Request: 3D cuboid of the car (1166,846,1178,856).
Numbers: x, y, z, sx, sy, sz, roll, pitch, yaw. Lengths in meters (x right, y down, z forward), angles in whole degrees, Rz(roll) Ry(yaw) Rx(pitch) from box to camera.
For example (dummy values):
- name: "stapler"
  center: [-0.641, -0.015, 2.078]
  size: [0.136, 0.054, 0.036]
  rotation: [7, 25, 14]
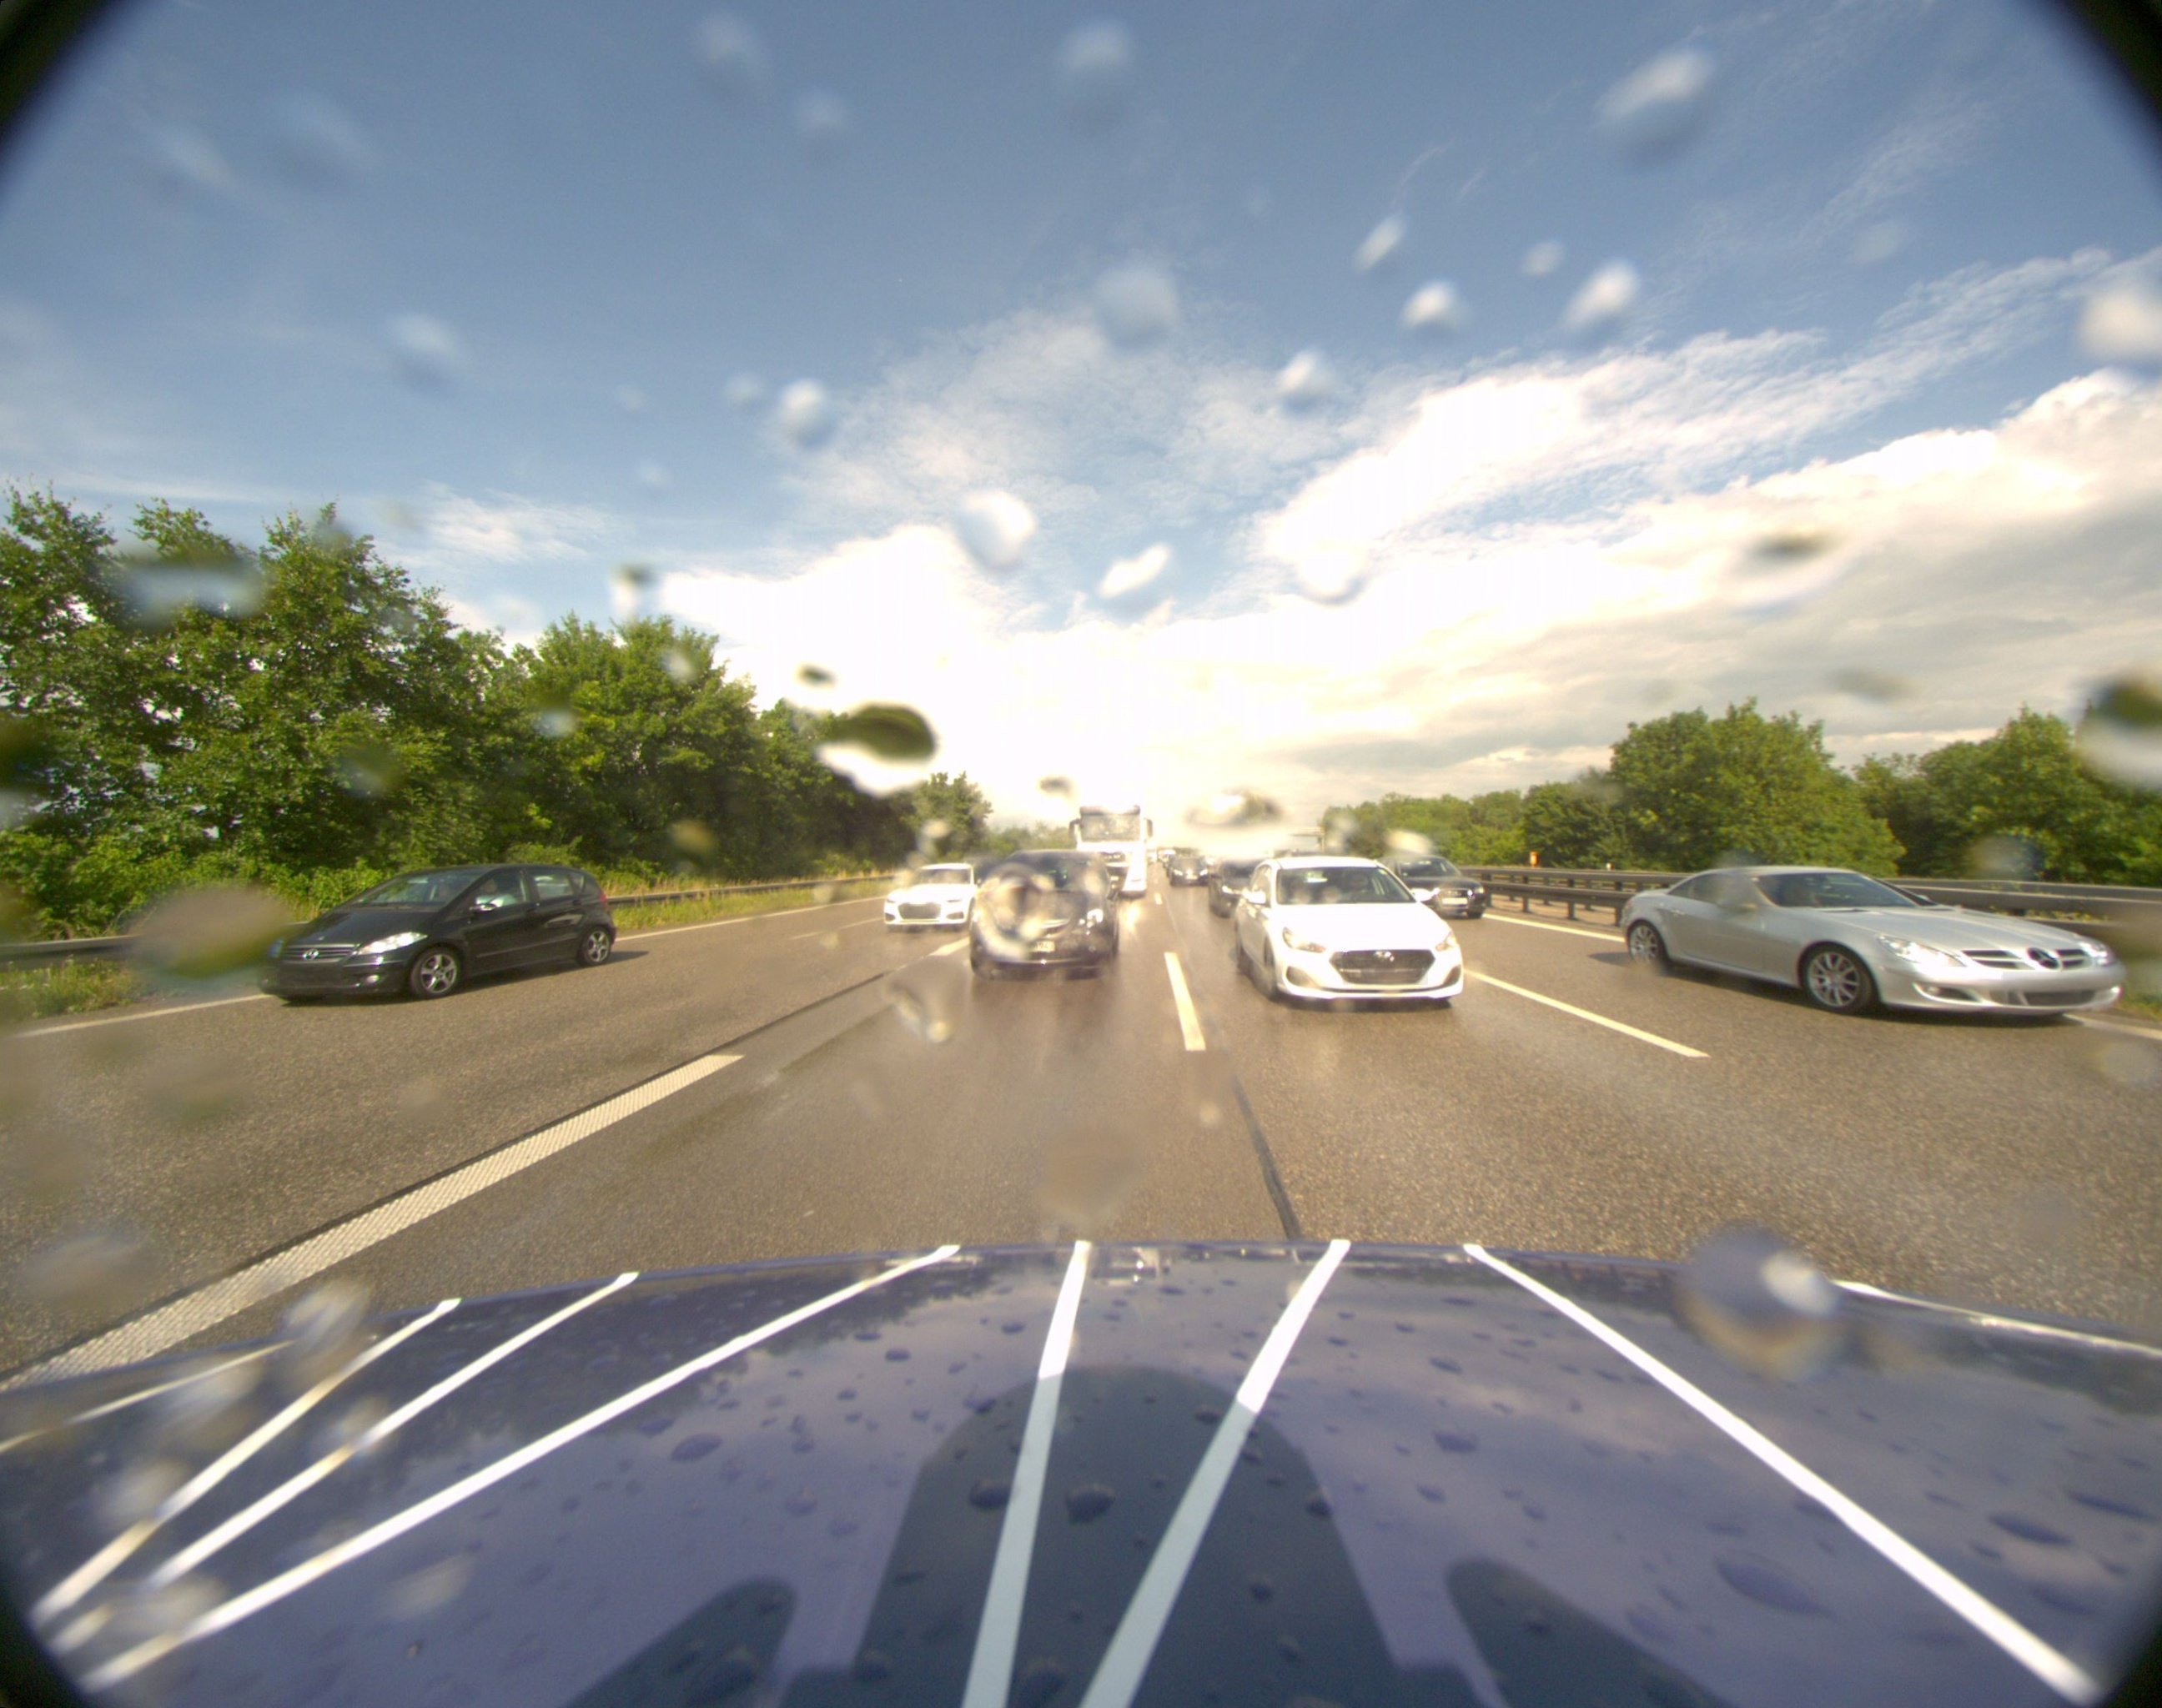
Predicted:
- name: "car"
  center: [17.229, -0.580, 144.567]
  size: [1.998, 1.687, 4.000]
  rotation: [-2, 1, 4]

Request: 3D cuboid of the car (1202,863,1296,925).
- name: "car"
  center: [4.140, 0.926, 19.287]
  size: [1.728, 1.330, 4.288]
  rotation: [-1, 0, 4]

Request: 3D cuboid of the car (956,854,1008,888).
- name: "car"
  center: [-5.156, 0.851, 40.294]
  size: [1.824, 1.611, 4.365]
  rotation: [-2, 0, 4]

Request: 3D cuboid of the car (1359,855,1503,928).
- name: "car"
  center: [8.007, 0.784, 17.811]
  size: [1.770, 1.417, 4.140]
  rotation: [-2, 0, 6]

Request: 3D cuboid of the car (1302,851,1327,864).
- name: "car"
  center: [25.749, 0.370, 83.790]
  size: [1.760, 1.371, 3.877]
  rotation: [-1, 0, 4]

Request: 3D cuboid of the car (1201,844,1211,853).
- name: "car"
  center: [28.098, -1.225, 170.943]
  size: [1.998, 1.768, 4.462]
  rotation: [-1, 0, 5]

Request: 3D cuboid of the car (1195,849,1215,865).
- name: "car"
  center: [14.540, 0.310, 89.292]
  size: [1.998, 1.687, 4.000]
  rotation: [-2, 1, 4]

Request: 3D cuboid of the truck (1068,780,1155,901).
- name: "truck"
  center: [1.403, -0.492, 29.739]
  size: [2.816, 4.082, 7.448]
  rotation: [-2, 1, 6]

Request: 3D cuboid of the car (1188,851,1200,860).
- name: "car"
  center: [23.909, 0.351, 160.955]
  size: [1.998, 1.687, 4.000]
  rotation: [-2, 1, 4]

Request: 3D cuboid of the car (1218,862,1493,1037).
- name: "car"
  center: [2.803, 0.870, 8.927]
  size: [1.885, 1.446, 4.549]
  rotation: [-1, 0, 4]

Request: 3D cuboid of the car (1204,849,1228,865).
- name: "car"
  center: [13.618, 0.265, 76.903]
  size: [1.998, 1.471, 4.000]
  rotation: [-2, 1, 4]

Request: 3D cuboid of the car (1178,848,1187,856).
- name: "car"
  center: [24.604, -0.466, 183.898]
  size: [1.998, 1.687, 4.000]
  rotation: [-2, 1, 4]

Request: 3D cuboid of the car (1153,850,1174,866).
- name: "car"
  center: [8.718, 0.396, 80.512]
  size: [1.998, 1.471, 4.000]
  rotation: [-2, 1, 4]

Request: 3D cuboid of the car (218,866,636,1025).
- name: "car"
  center: [-8.079, 0.998, 10.005]
  size: [1.852, 1.559, 4.001]
  rotation: [0, 1, 4]

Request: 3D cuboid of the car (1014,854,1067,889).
- name: "car"
  center: [-1.929, 0.824, 37.378]
  size: [1.998, 1.572, 4.654]
  rotation: [-1, 0, 4]

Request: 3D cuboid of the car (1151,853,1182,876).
- name: "car"
  center: [6.106, 0.737, 54.604]
  size: [1.998, 1.471, 4.000]
  rotation: [-2, 1, 4]

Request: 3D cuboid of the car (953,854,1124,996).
- name: "car"
  center: [-0.380, 0.835, 11.068]
  size: [1.883, 1.638, 4.397]
  rotation: [-1, 0, 4]

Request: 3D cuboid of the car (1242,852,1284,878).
- name: "car"
  center: [10.727, 0.602, 44.932]
  size: [1.771, 1.371, 4.000]
  rotation: [-1, 1, 4]

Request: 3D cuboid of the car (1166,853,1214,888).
- name: "car"
  center: [5.296, 0.753, 37.346]
  size: [1.998, 1.477, 4.000]
  rotation: [-2, 1, 4]

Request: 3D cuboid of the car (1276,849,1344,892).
- name: "car"
  center: [9.368, 0.630, 31.429]
  size: [1.874, 1.597, 4.230]
  rotation: [-1, 0, 5]

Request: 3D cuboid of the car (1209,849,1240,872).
- name: "car"
  center: [11.923, 0.502, 63.323]
  size: [1.998, 1.738, 4.000]
  rotation: [-2, 1, 4]

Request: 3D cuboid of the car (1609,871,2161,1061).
- name: "car"
  center: [7.428, 0.873, 7.585]
  size: [1.728, 1.270, 4.064]
  rotation: [-1, 0, 4]

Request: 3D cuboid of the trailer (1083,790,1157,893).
- name: "trailer"
  center: [2.121, -0.560, 36.438]
  size: [2.789, 4.082, 11.543]
  rotation: [-2, 0, 6]

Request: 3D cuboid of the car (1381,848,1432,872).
- name: "car"
  center: [23.473, 0.416, 54.999]
  size: [1.998, 1.677, 4.462]
  rotation: [-1, 0, 4]

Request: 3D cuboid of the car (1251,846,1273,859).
- name: "car"
  center: [23.464, -0.178, 98.840]
  size: [1.998, 1.614, 4.000]
  rotation: [-1, 0, 2]

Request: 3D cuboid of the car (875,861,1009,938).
- name: "car"
  center: [-3.003, 0.944, 17.511]
  size: [1.830, 1.417, 4.512]
  rotation: [-2, 0, 6]
